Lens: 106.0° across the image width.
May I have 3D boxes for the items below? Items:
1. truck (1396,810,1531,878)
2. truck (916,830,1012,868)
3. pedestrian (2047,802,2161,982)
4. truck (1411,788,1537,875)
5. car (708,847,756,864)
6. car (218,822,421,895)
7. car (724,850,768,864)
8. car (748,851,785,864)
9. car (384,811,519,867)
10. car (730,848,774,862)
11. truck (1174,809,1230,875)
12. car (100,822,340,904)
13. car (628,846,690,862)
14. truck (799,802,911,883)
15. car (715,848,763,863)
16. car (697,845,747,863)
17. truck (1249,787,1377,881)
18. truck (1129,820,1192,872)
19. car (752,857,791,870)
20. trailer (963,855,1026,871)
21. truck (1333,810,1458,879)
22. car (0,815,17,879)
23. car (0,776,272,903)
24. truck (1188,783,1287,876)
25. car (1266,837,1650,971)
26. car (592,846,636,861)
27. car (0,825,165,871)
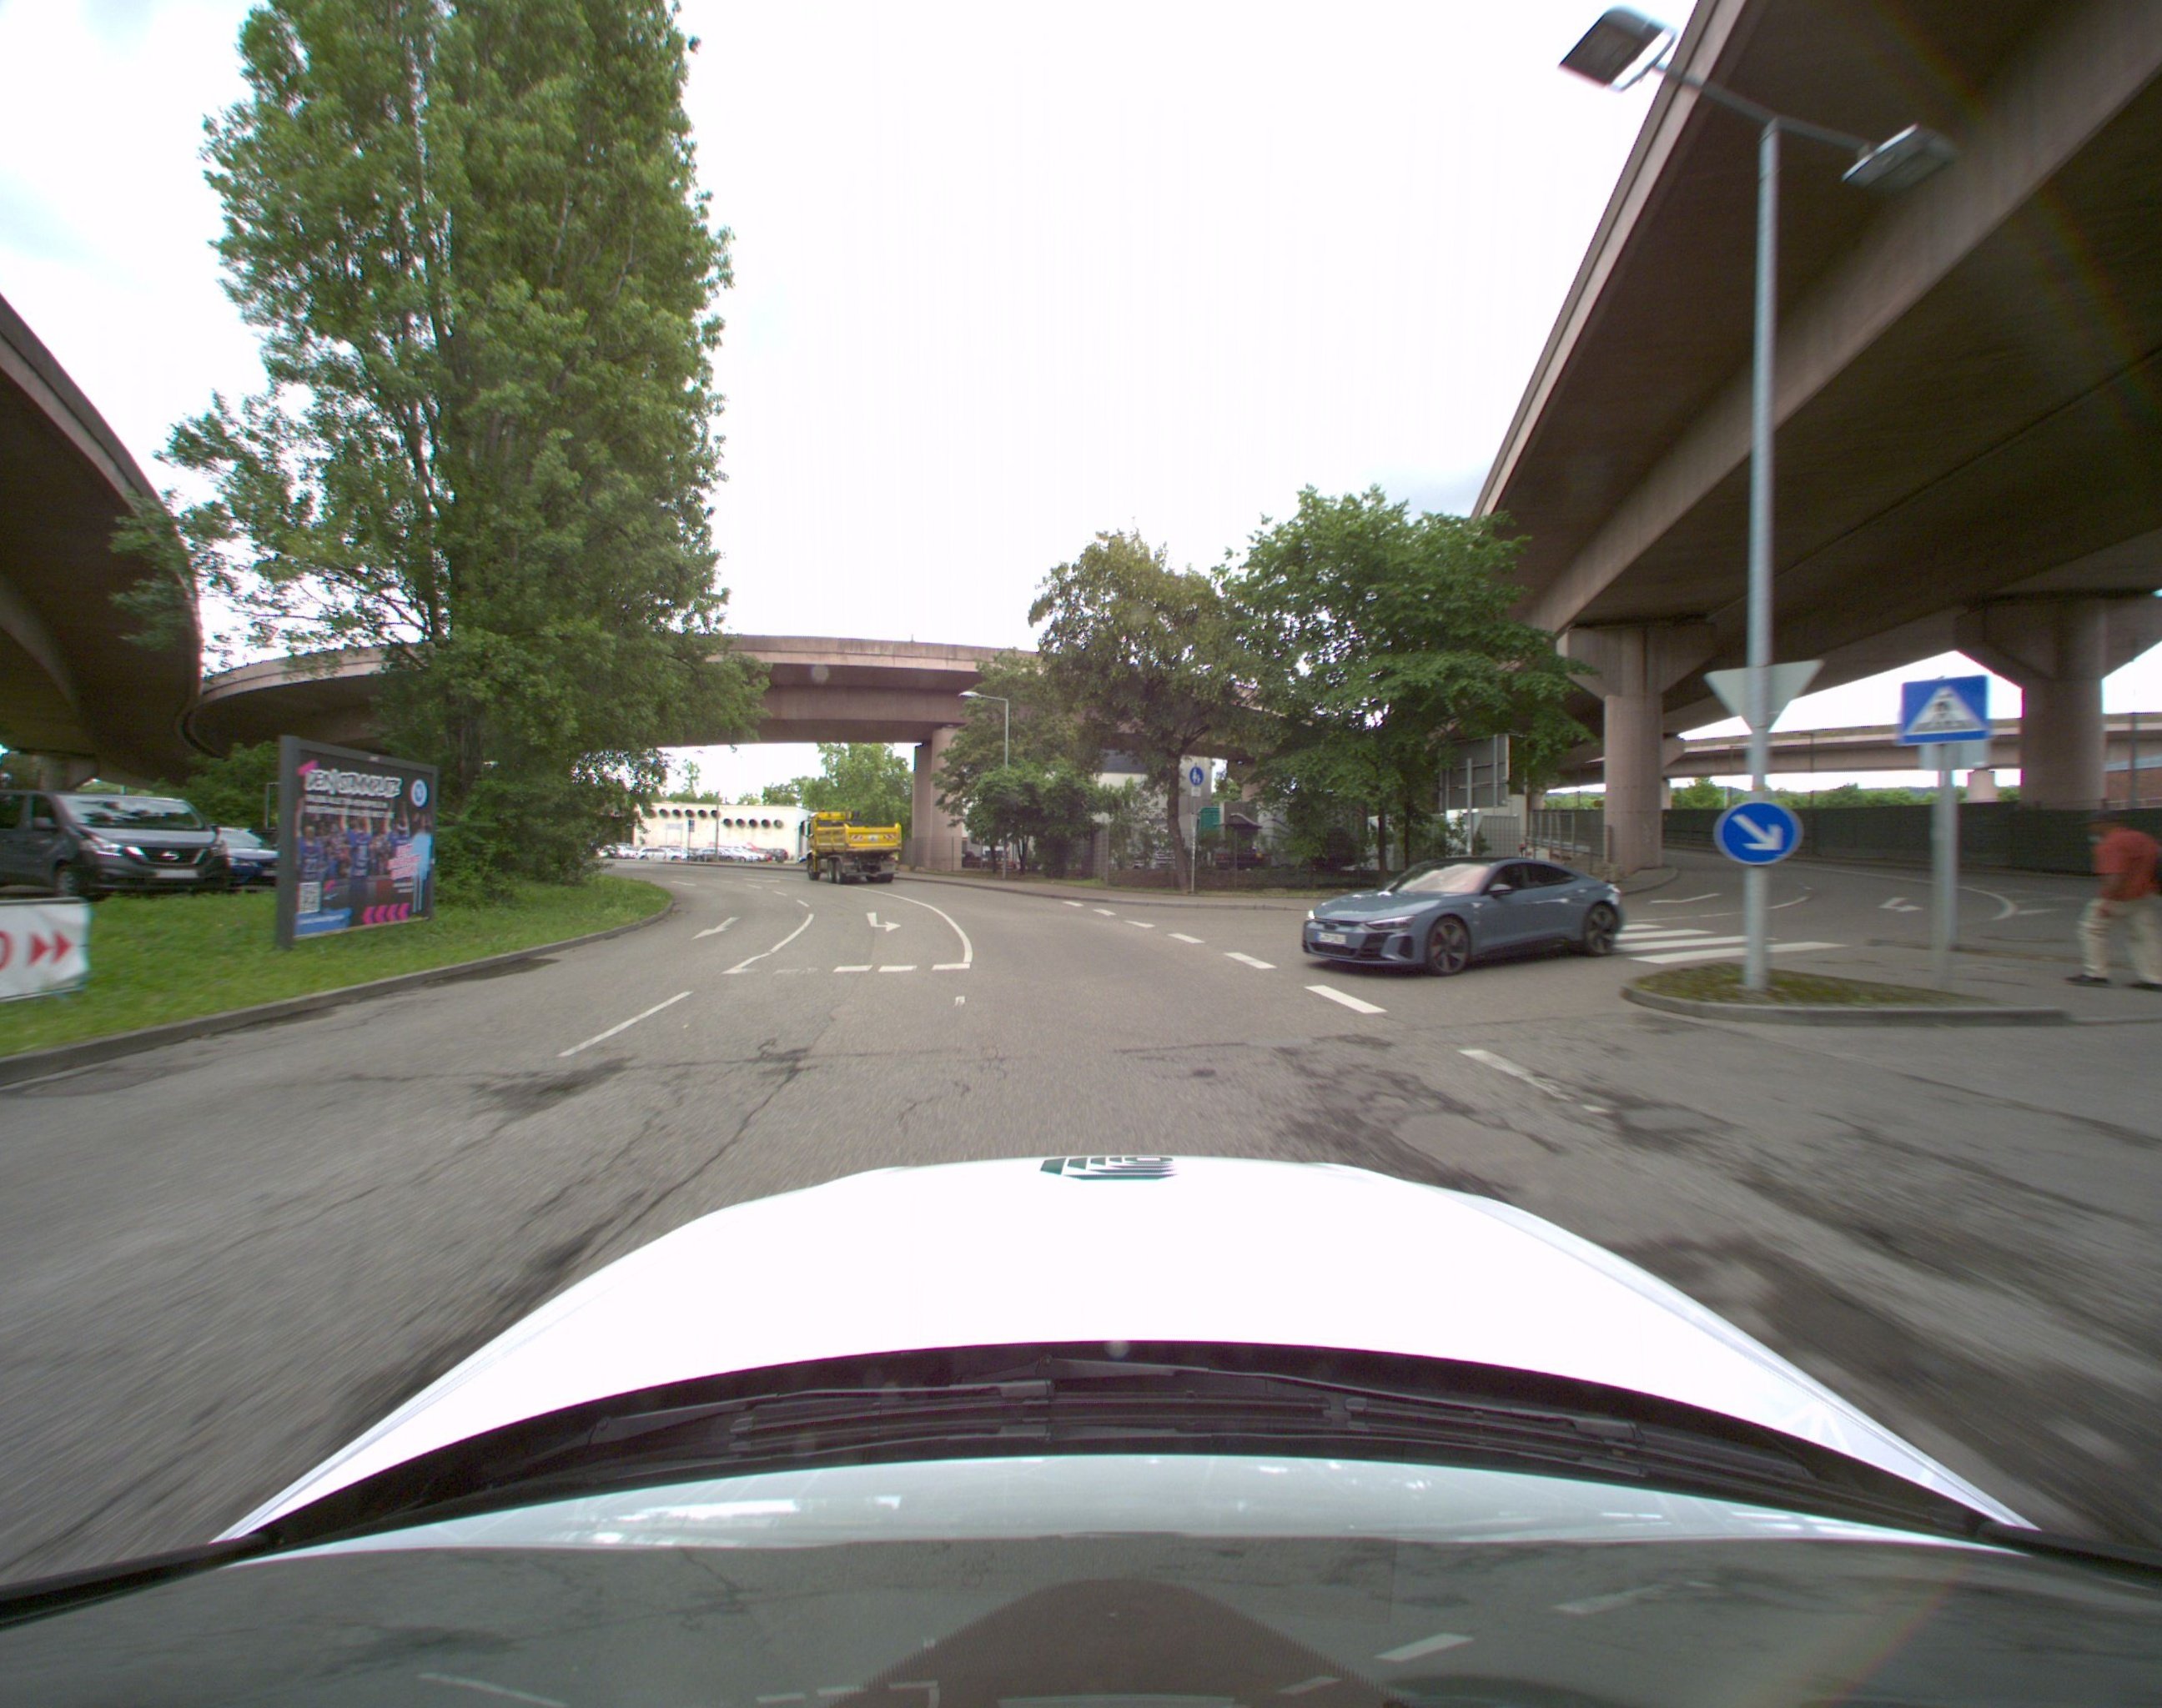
[{"bbox_3d":[17.840,-0.522,38.494,2.910,2.898,6.548,-1,1,-5],"label":"truck"},{"bbox_3d":[-8.513,-0.315,58.642,7.138,2.552,2.742,0,0,39],"label":"truck"},{"bbox_3d":[9.988,0.358,7.904,0.534,1.676,0.559,-1,0,4],"label":"pedestrian"},{"bbox_3d":[21.413,-1.214,45.013,3.056,4.299,8.047,-1,1,0],"label":"truck"},{"bbox_3d":[-34.389,0.139,80.357,3.984,1.640,1.995,-1,-1,-8],"label":"car"},{"bbox_3d":[-19.976,0.119,21.409,4.321,1.553,2.010,-4,0,19],"label":"car"},{"bbox_3d":[-35.893,0.358,87.301,3.982,1.406,1.996,-1,-1,-6],"label":"car"},{"bbox_3d":[-36.521,0.367,94.689,3.696,1.442,1.631,-1,-1,-6],"label":"car"},{"bbox_3d":[-24.052,-0.552,31.120,4.398,2.013,2.010,0,0,20],"label":"car"},{"bbox_3d":[-36.222,0.111,89.758,3.982,1.442,1.996,-1,-1,-6],"label":"car"},{"bbox_3d":[9.301,-0.991,63.422,3.192,4.779,8.049,-1,1,0],"label":"truck"},{"bbox_3d":[-19.390,0.203,18.369,4.401,1.484,1.819,-4,0,16],"label":"car"},{"bbox_3d":[-39.850,-0.014,77.017,4.814,1.442,1.996,-1,-1,-6],"label":"car"},{"bbox_3d":[-11.100,-0.549,39.366,2.947,3.481,8.162,-2,1,-32],"label":"truck"},{"bbox_3d":[-34.797,0.121,82.932,3.982,1.442,1.996,-1,-1,-6],"label":"car"},{"bbox_3d":[-33.985,0.034,77.261,3.983,1.640,1.685,-1,-1,-7],"label":"car"},{"bbox_3d":[10.477,-0.923,37.804,3.060,3.867,8.035,-1,1,-5],"label":"truck"},{"bbox_3d":[5.773,-0.662,60.490,3.052,3.618,7.898,0,1,-7],"label":"truck"},{"bbox_3d":[-37.402,1.134,98.507,3.981,1.547,1.852,-1,-1,-5],"label":"car"},{"bbox_3d":[-5.529,0.557,51.015,2.159,0.743,6.245,-3,2,-24],"label":"trailer"},{"bbox_3d":[14.465,-0.473,38.081,2.910,2.898,6.548,-1,1,-5],"label":"truck"},{"bbox_3d":[-30.780,-0.300,21.107,1.660,1.668,3.709,3,-1,41],"label":"car"},{"bbox_3d":[-18.104,-0.195,15.175,5.047,2.072,2.270,0,-2,20],"label":"car"},{"bbox_3d":[7.249,-1.131,38.693,3.058,3.963,6.917,-1,1,-3],"label":"truck"},{"bbox_3d":[5.204,0.557,11.200,4.941,1.502,2.155,0,-1,-26],"label":"car"},{"bbox_3d":[-52.769,-0.007,92.111,3.865,1.633,1.772,-1,-1,-6],"label":"car"},{"bbox_3d":[-31.673,-0.200,25.405,1.643,1.354,3.705,-1,1,18],"label":"car"}]
